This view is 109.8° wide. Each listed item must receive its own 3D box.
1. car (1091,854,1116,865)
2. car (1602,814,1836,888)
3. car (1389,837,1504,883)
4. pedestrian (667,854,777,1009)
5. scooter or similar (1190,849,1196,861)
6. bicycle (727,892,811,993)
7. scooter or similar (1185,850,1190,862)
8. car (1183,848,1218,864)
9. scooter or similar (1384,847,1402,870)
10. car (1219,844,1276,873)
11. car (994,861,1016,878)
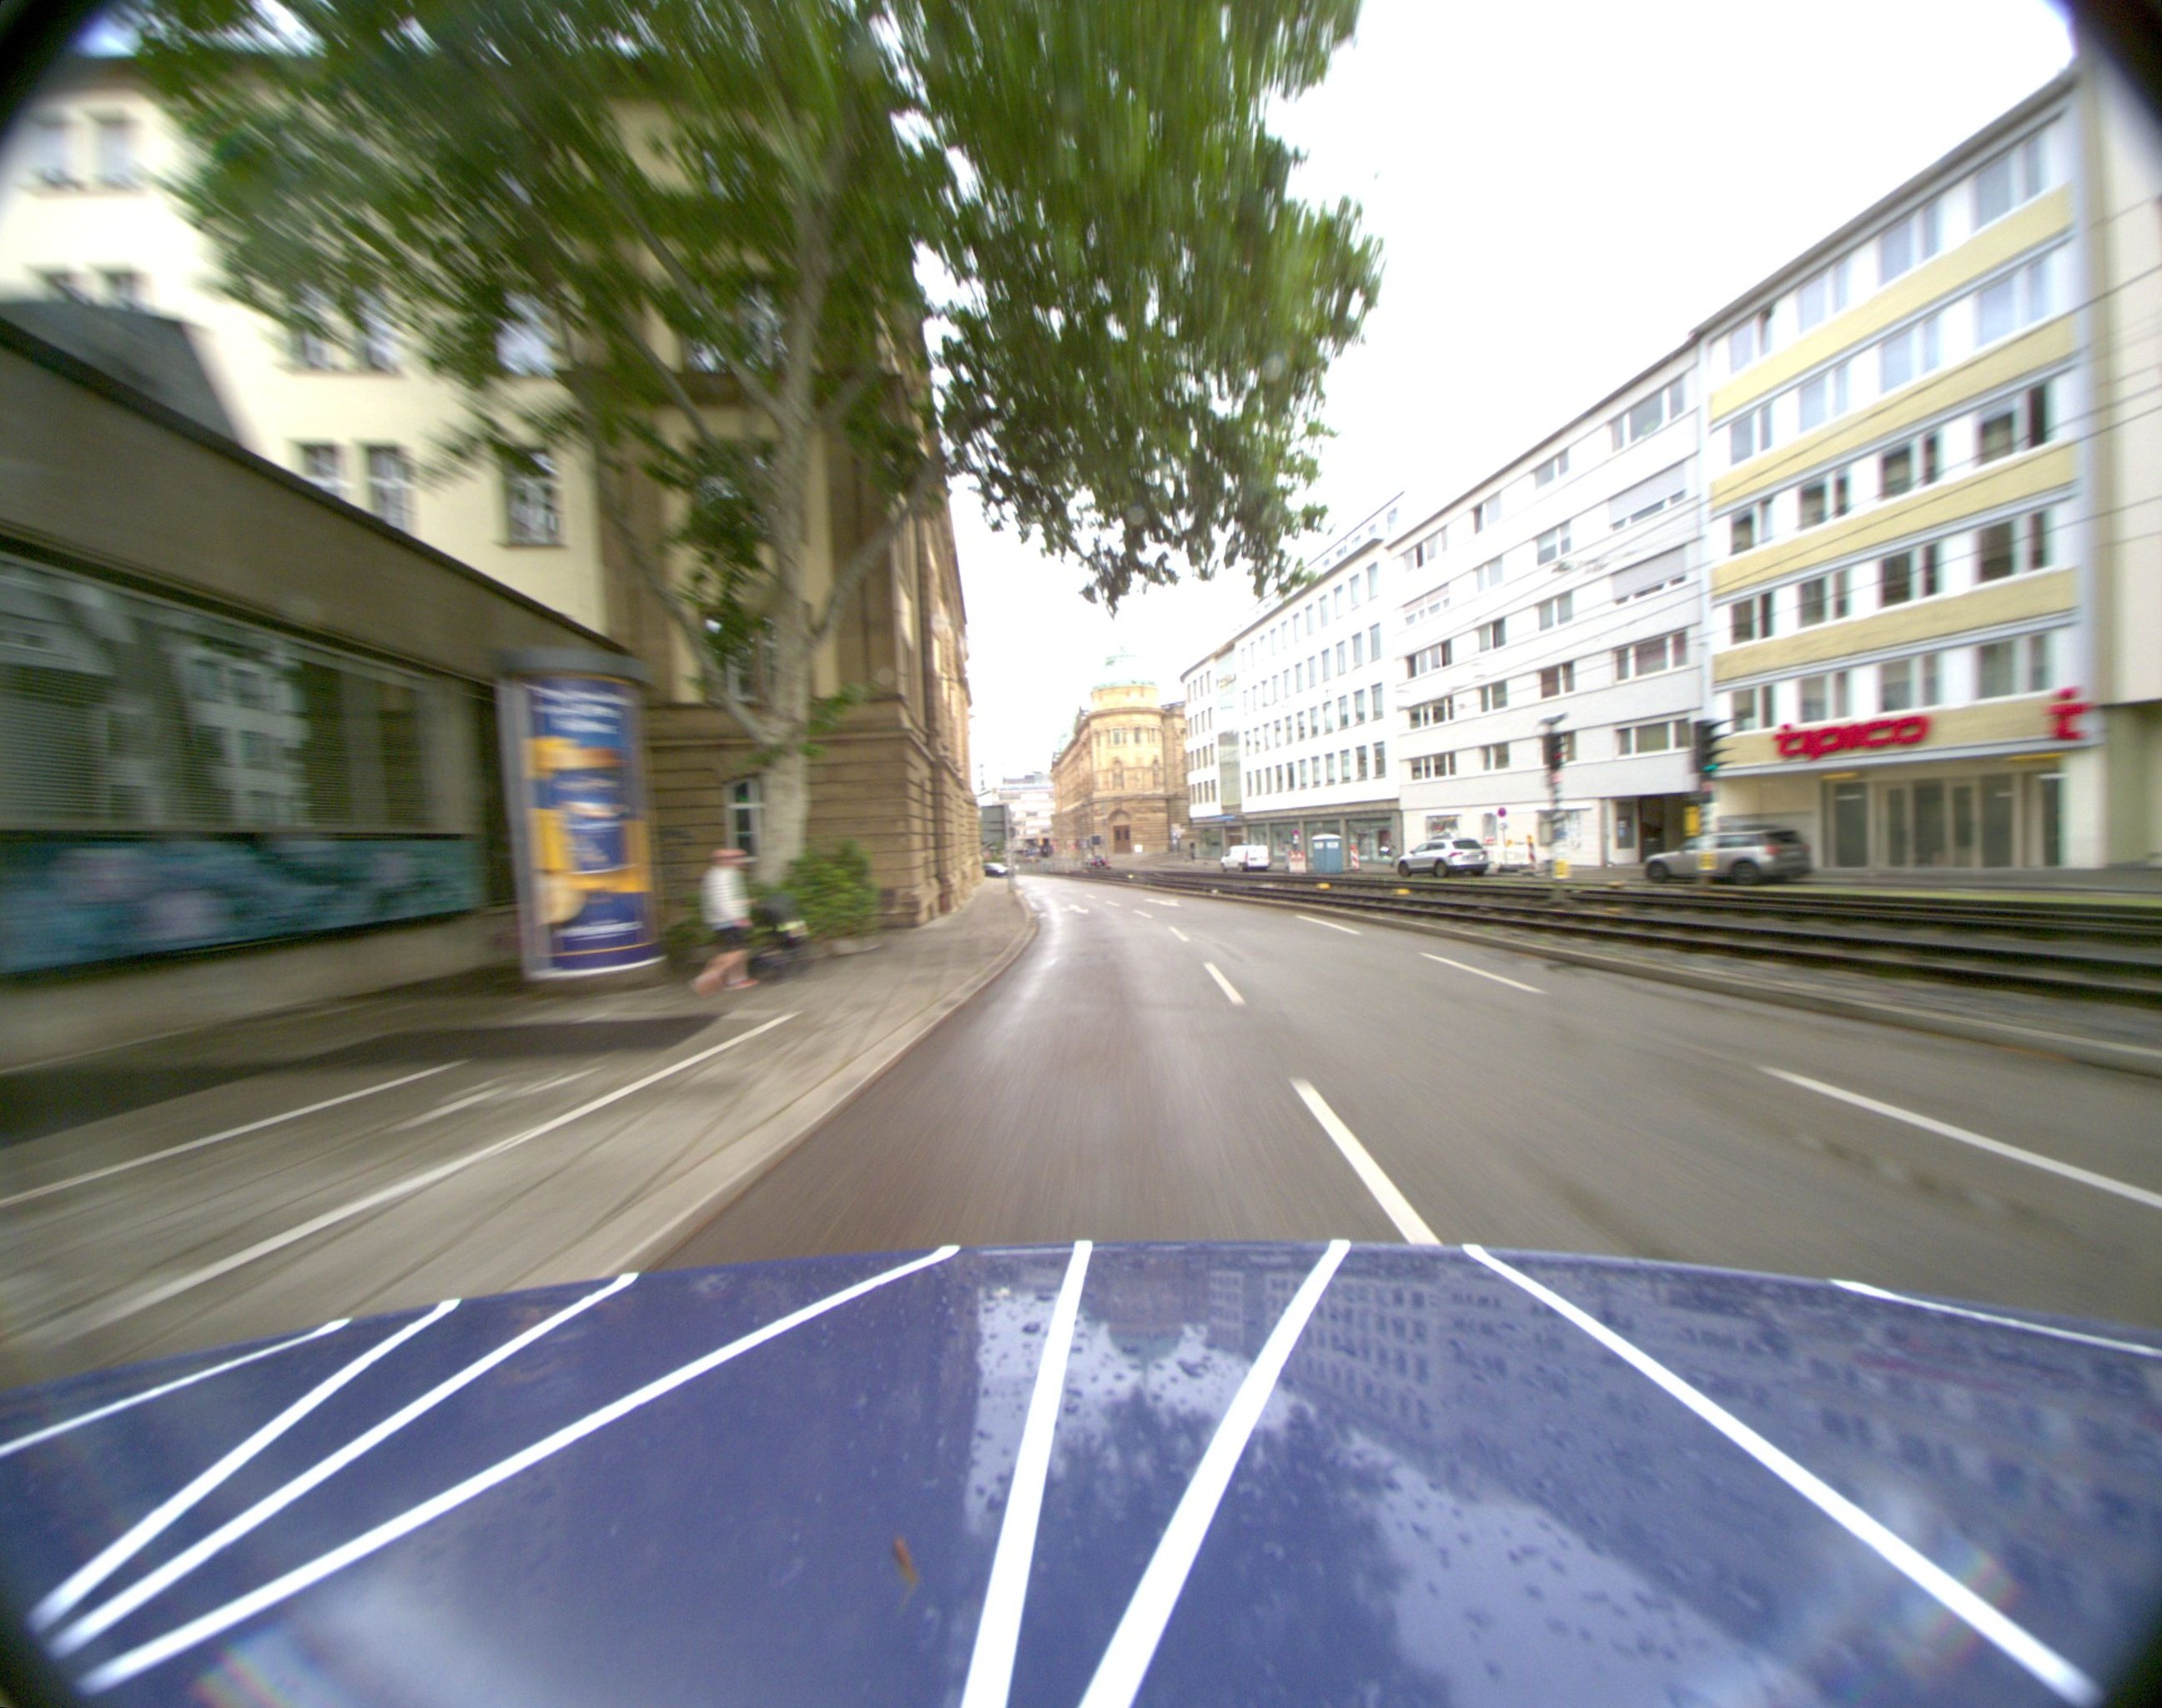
[{"bbox_3d":[2.655,0.663,92.509,2.000,1.248,4.690,-3,1,-11],"label":"car"},{"bbox_3d":[17.351,-0.102,21.049,2.000,1.664,4.690,-5,2,-11],"label":"car"},{"bbox_3d":[15.404,0.282,32.346,2.000,1.664,4.692,-5,0,-9],"label":"car"},{"bbox_3d":[-4.225,0.869,9.007,0.719,1.732,1.020,-1,0,7],"label":"pedestrian"},{"bbox_3d":[12.137,0.125,82.368,0.410,1.194,1.561,-4,2,14],"label":"scooter or similar"},{"bbox_3d":[-4.083,1.142,10.003,0.620,1.213,0.911,-2,0,8],"label":"bicycle"},{"bbox_3d":[11.503,0.236,82.393,0.410,1.194,1.560,-5,2,7],"label":"scooter or similar"},{"bbox_3d":[13.877,0.238,88.001,1.780,1.390,4.334,-3,2,41],"label":"car"},{"bbox_3d":[17.318,0.239,42.165,0.382,1.196,0.973,-5,2,-10],"label":"scooter or similar"},{"bbox_3d":[11.895,0.312,54.735,2.000,1.832,5.126,-5,2,-11],"label":"car"},{"bbox_3d":[-7.599,1.532,76.088,1.999,1.458,4.641,-4,0,-5],"label":"car"}]
